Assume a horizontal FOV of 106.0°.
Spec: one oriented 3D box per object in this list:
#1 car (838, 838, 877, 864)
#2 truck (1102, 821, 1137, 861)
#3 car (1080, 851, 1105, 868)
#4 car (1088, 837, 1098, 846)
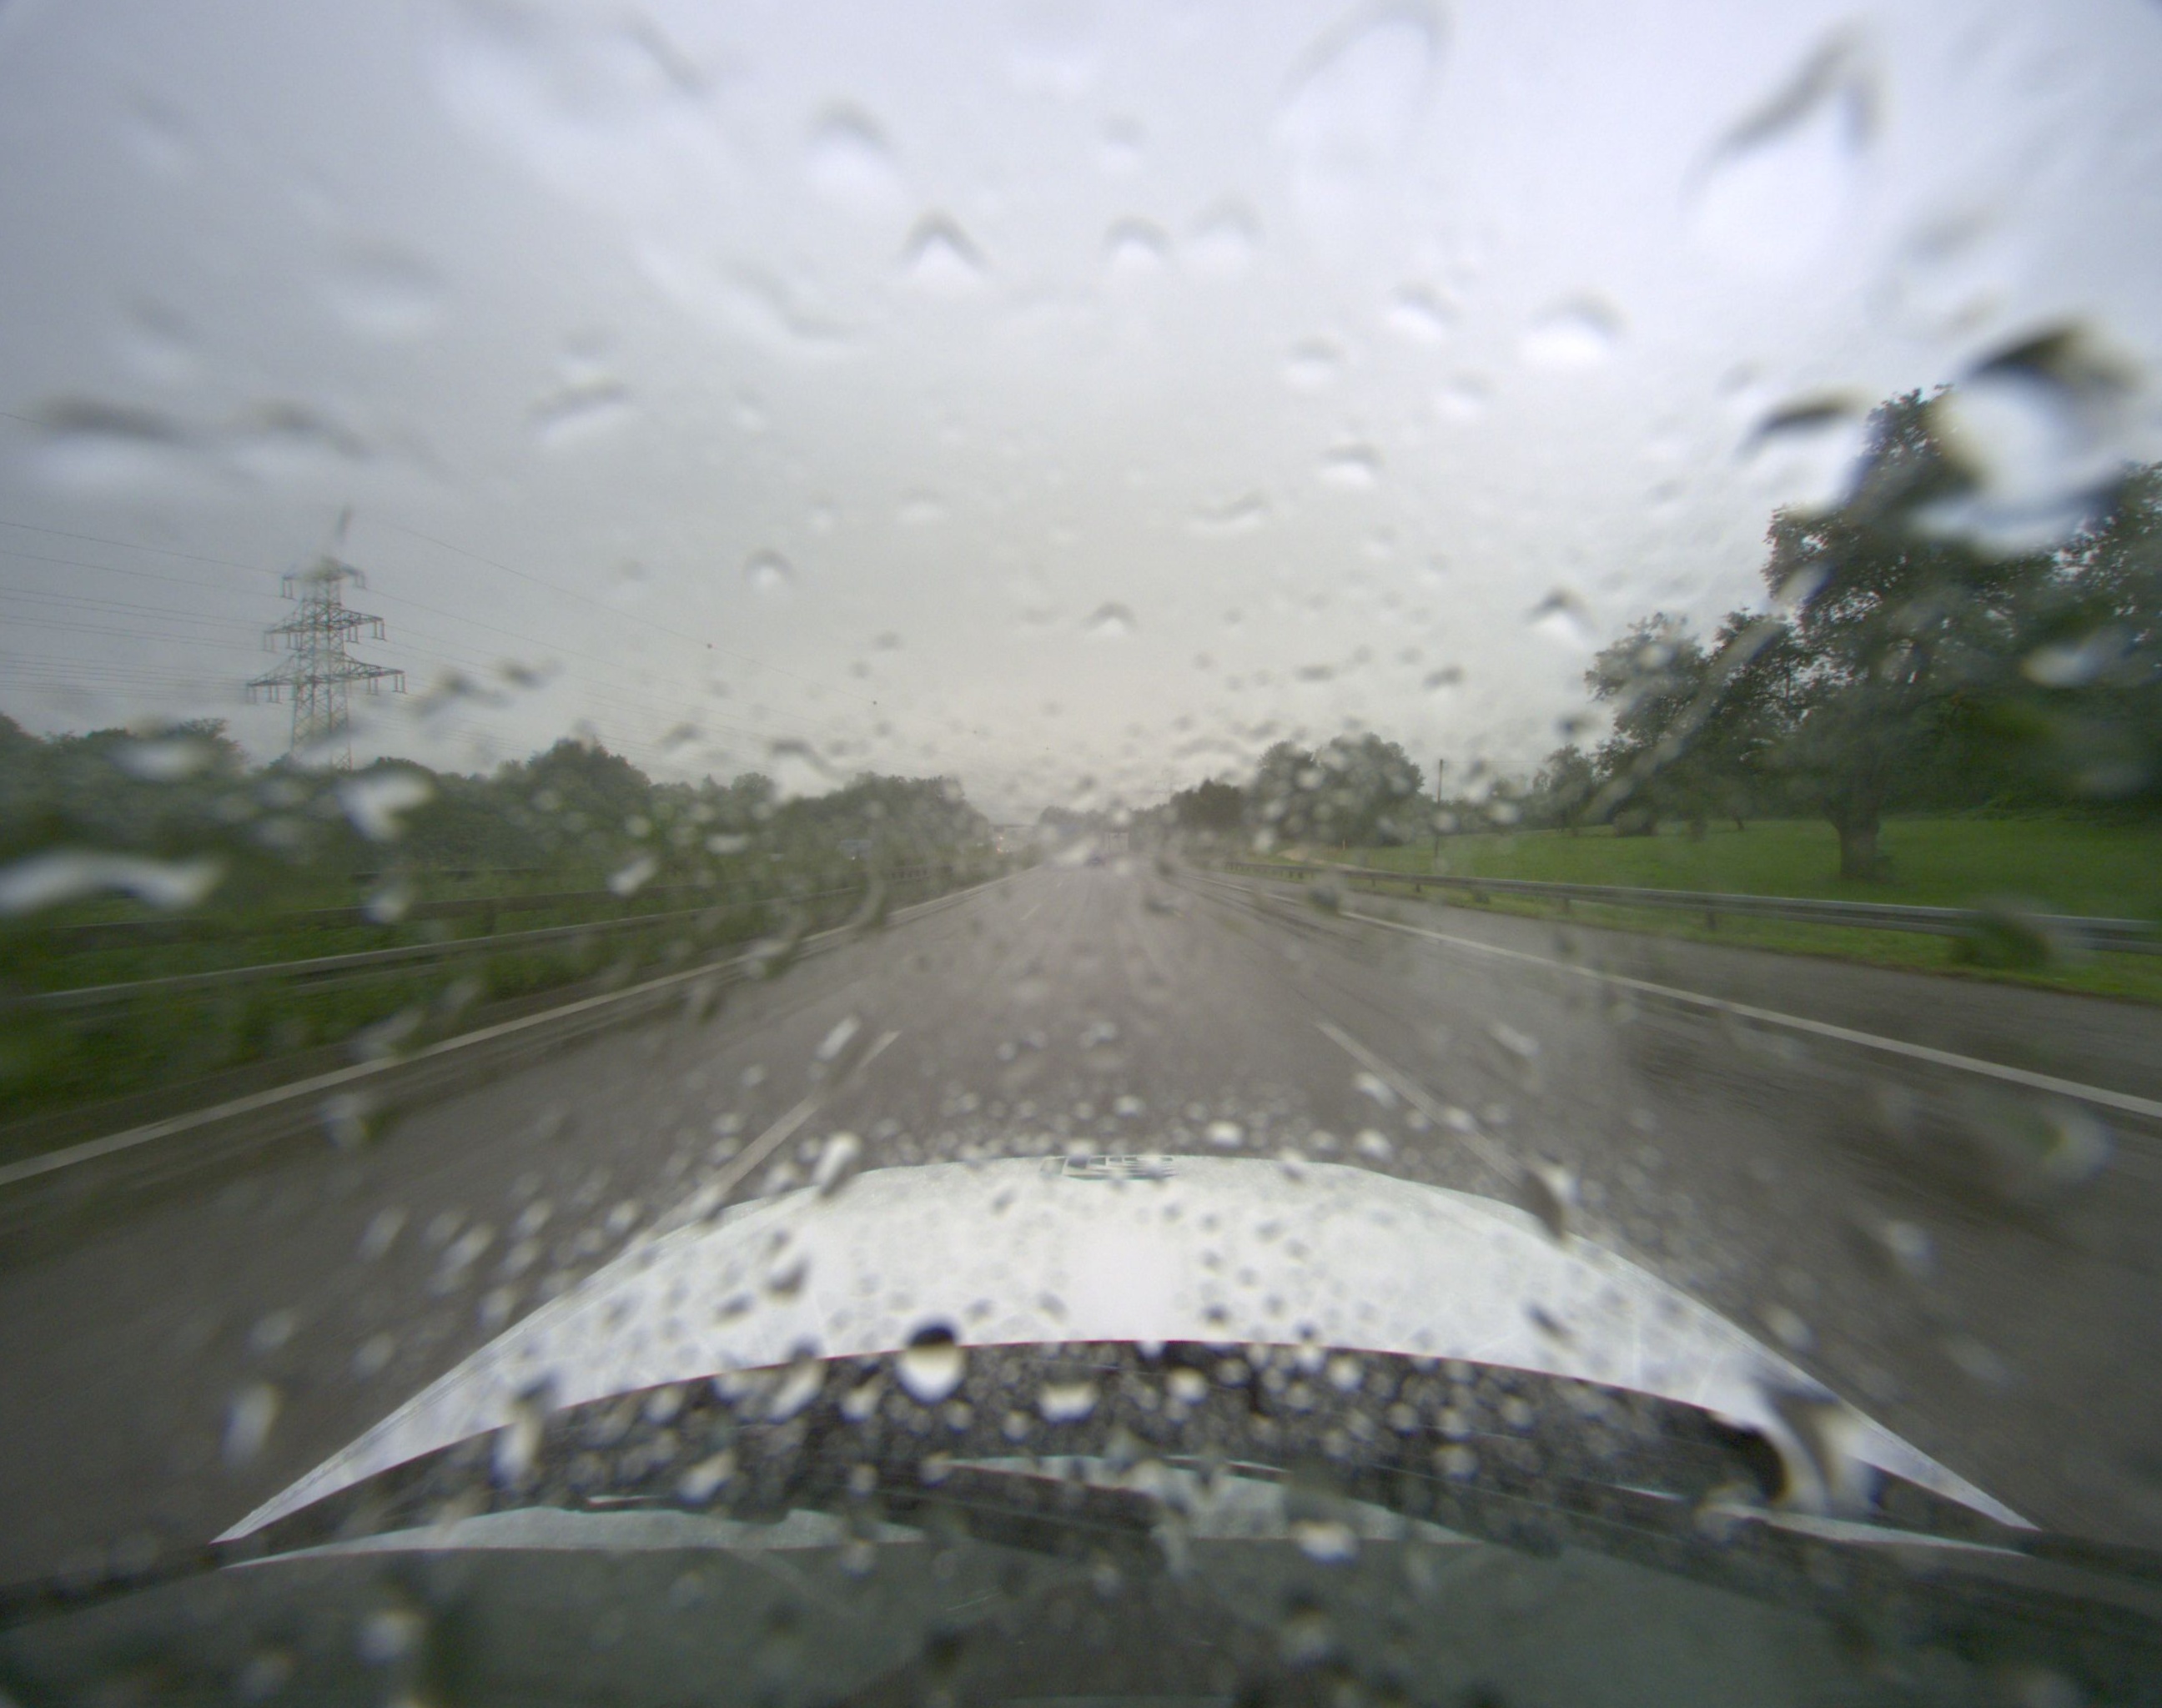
[{"bbox_3d":[-19.149,-0.263,70.032,1.813,2.013,4.837,3,1,1],"label":"car"},{"bbox_3d":[5.491,-1.792,112.943,4.237,4.971,17.363,-2,1,4],"label":"truck"},{"bbox_3d":[0.957,0.429,66.084,1.740,1.212,4.006,2,1,5],"label":"car"},{"bbox_3d":[2.970,-3.033,199.913,2.386,2.272,5.000,1,1,-1],"label":"car"}]
